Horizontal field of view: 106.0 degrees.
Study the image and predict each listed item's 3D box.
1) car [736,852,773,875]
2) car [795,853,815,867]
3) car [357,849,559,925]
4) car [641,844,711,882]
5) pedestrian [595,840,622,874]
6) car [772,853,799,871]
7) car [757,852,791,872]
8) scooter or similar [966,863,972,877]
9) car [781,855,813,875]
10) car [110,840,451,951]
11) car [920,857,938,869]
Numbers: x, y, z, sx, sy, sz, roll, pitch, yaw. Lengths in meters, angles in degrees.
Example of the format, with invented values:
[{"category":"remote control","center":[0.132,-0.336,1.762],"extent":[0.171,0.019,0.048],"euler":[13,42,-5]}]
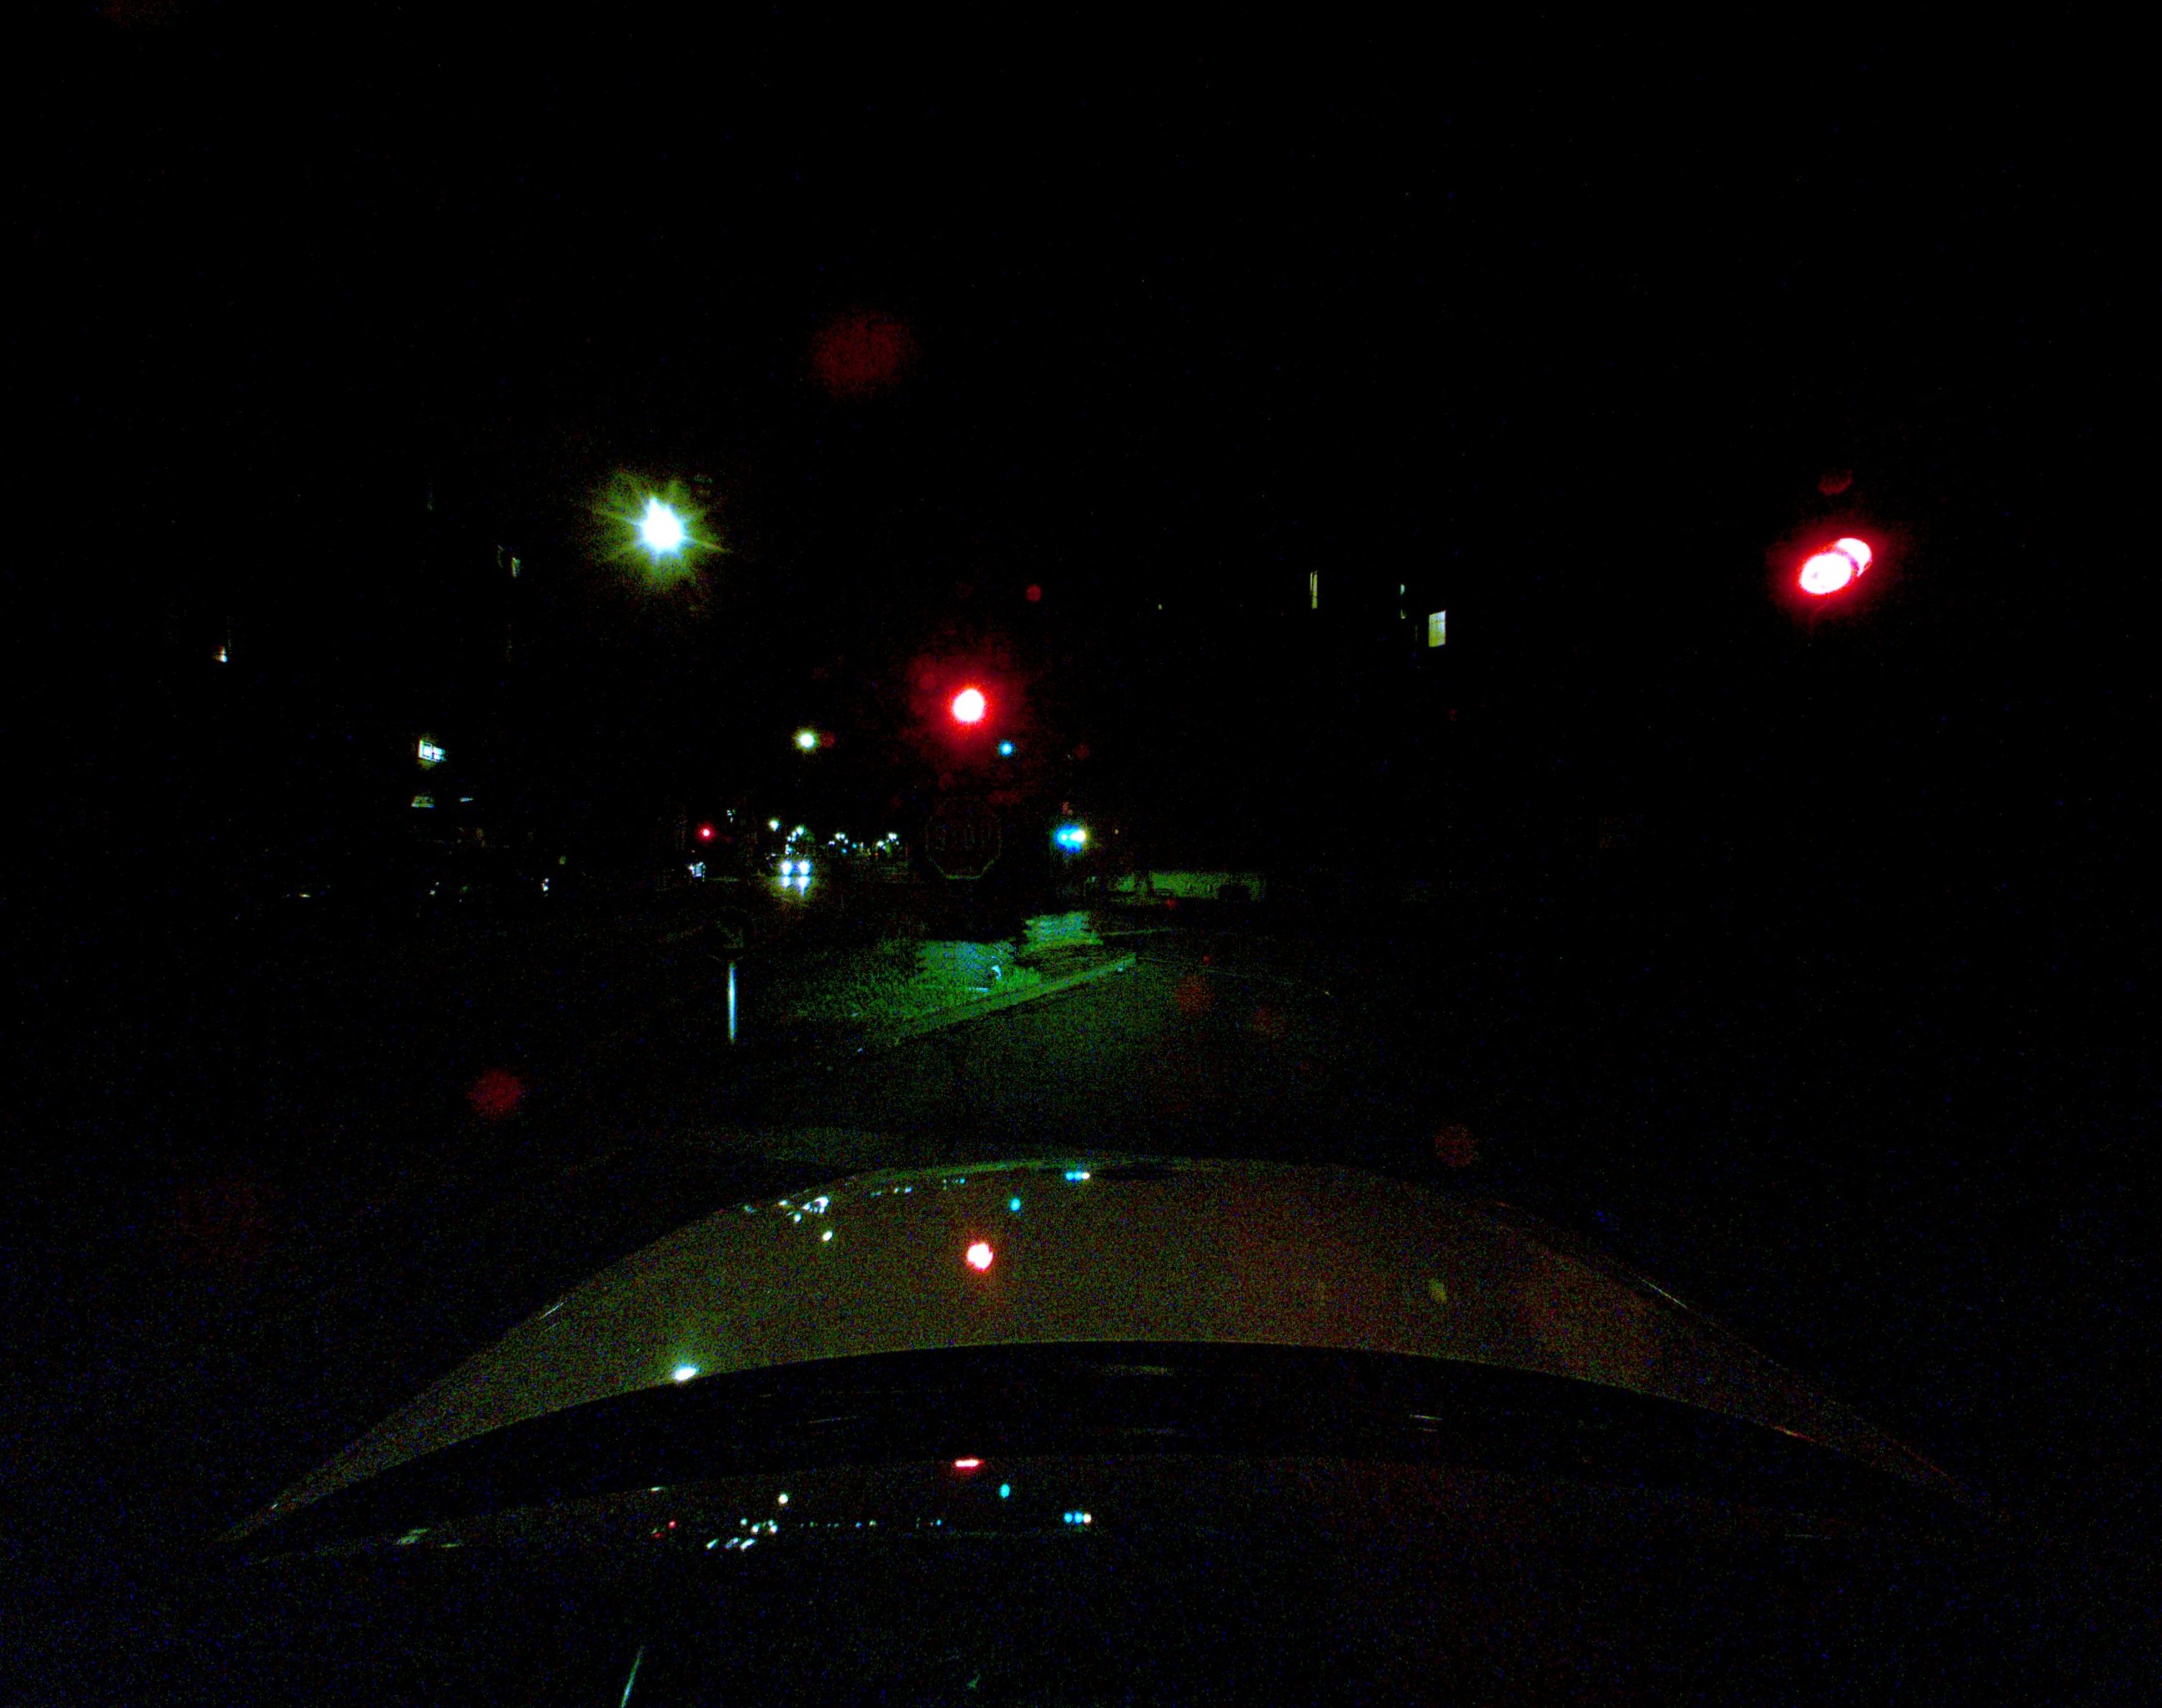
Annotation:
[{"category":"car","center":[-23.653,0.678,59.076],"extent":[1.592,1.491,3.688],"euler":[4,-1,-8]},{"category":"car","center":[-31.607,0.671,93.200],"extent":[1.787,1.416,4.106],"euler":[3,-1,-15]},{"category":"car","center":[-13.729,0.676,18.343],"extent":[1.863,1.433,4.423],"euler":[3,-1,-13]},{"category":"car","center":[-19.134,0.423,38.683],"extent":[1.887,1.596,4.008],"euler":[3,-1,-11]},{"category":"pedestrian","center":[-23.963,0.156,41.328],"extent":[0.708,1.690,1.123],"euler":[1,-1,-3]},{"category":"car","center":[-26.539,0.694,73.173],"extent":[1.787,1.491,3.980],"euler":[4,-1,-14]},{"category":"car","center":[-25.389,0.653,67.428],"extent":[1.785,1.491,4.313],"euler":[4,-1,-11]},{"category":"scooter or similar","center":[-9.558,1.360,69.254],"extent":[0.421,1.130,1.490],"euler":[1,0,-5]},{"category":"car","center":[-20.742,0.782,59.550],"extent":[1.717,1.429,3.983],"euler":[0,0,-13]},{"category":"car","center":[-12.648,0.593,13.379],"extent":[1.863,1.479,4.453],"euler":[2,-1,-13]},{"category":"car","center":[-19.686,1.133,105.125],"extent":[1.738,1.460,4.700],"euler":[2,-1,-17]}]
